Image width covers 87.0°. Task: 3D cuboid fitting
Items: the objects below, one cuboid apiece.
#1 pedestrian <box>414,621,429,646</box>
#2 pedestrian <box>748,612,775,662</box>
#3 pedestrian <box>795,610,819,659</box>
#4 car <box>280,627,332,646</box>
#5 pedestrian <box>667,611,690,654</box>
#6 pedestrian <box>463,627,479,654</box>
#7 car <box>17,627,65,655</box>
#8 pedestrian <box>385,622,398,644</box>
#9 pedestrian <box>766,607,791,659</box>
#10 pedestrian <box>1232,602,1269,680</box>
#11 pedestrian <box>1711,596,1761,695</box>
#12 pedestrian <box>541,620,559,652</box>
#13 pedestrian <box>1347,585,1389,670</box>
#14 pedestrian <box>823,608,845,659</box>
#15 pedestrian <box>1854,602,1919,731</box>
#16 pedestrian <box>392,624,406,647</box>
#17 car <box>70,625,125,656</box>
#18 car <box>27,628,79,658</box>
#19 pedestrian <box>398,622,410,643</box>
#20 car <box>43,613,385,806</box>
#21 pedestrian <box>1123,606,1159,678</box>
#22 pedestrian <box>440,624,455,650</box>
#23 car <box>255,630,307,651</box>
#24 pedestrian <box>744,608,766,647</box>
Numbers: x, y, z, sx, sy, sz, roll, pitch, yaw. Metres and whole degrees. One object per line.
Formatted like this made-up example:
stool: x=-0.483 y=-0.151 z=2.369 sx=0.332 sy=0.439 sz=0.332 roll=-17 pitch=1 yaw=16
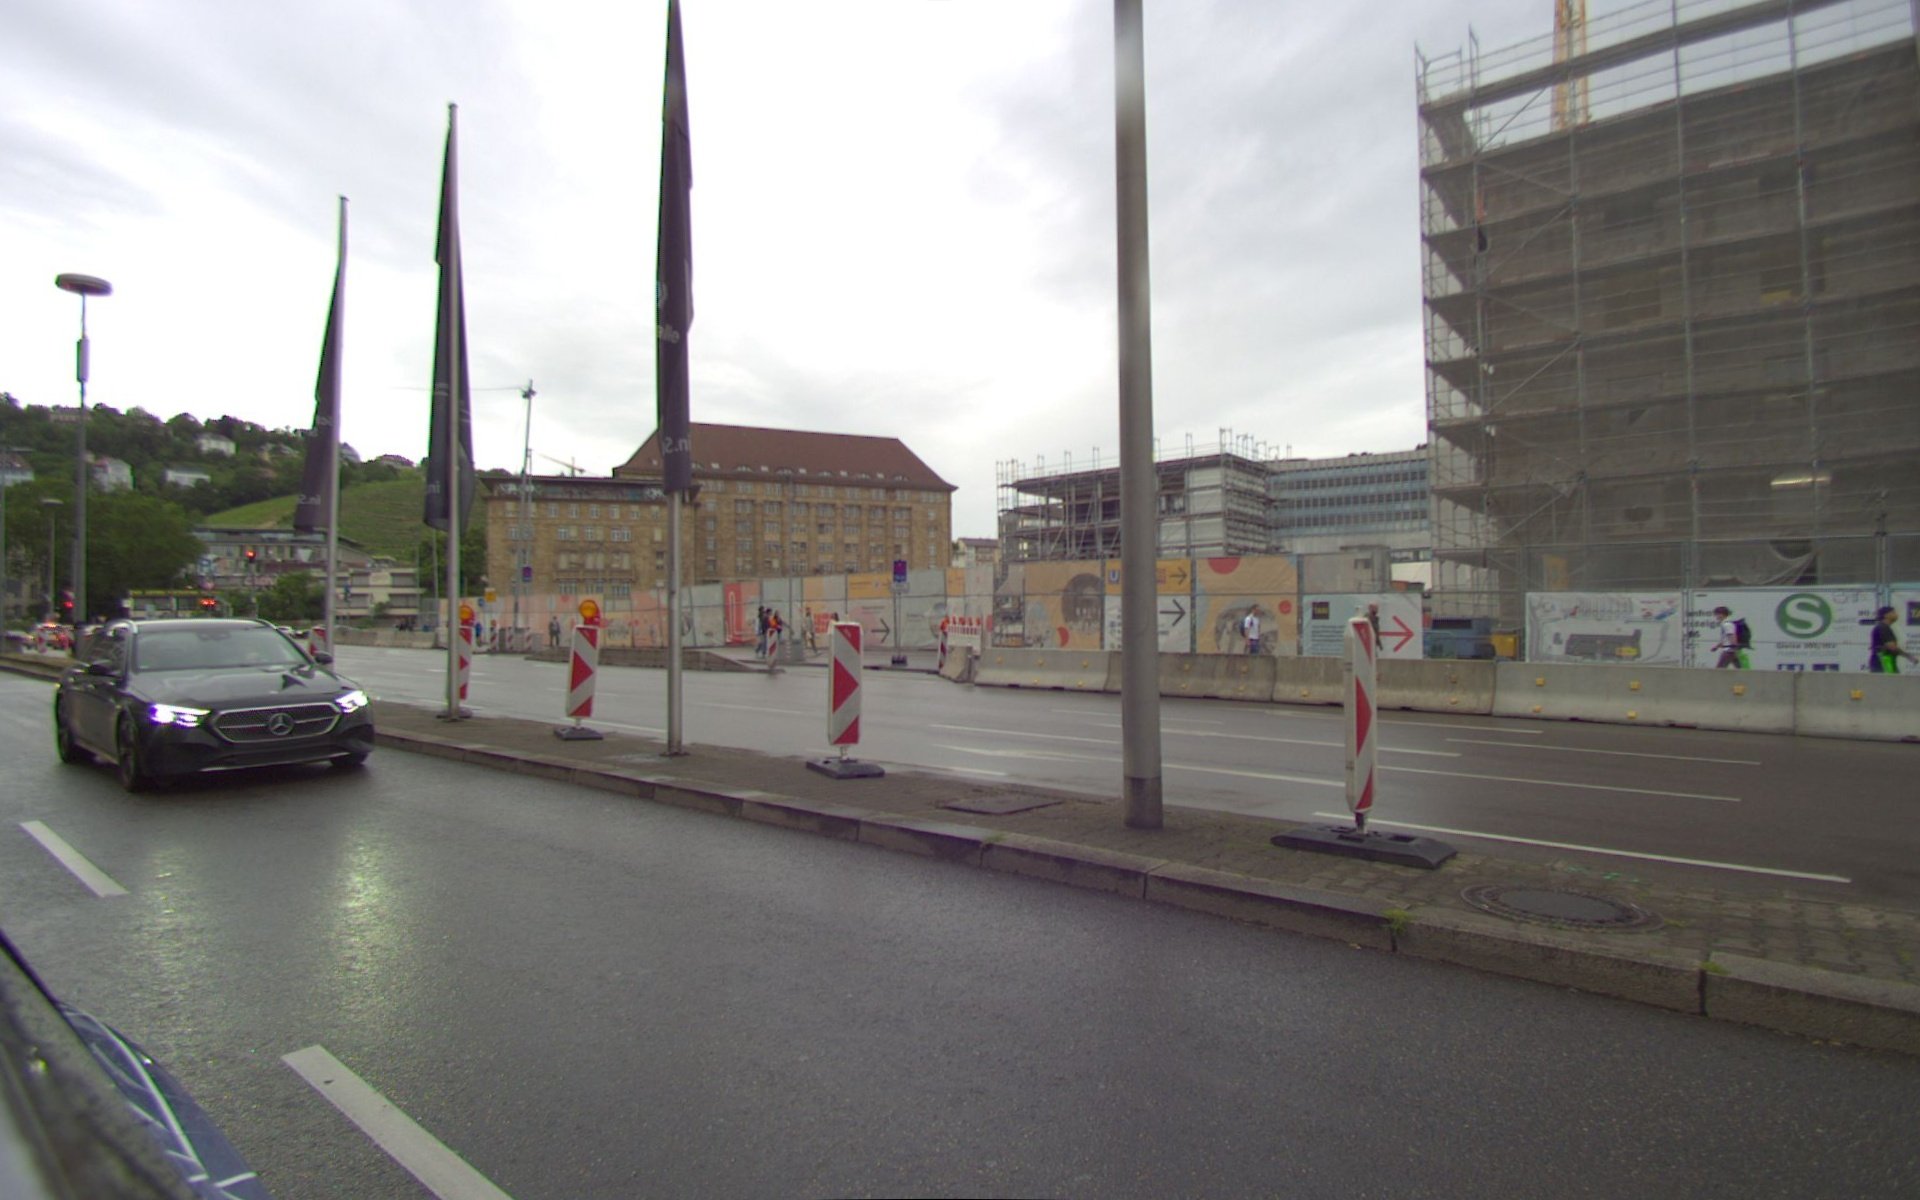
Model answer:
pedestrian: x=-34.999 y=2.180 z=65.722 sx=0.544 sy=1.628 sz=0.706 roll=-1 pitch=0 yaw=41
pedestrian: x=-7.104 y=1.300 z=36.197 sx=0.704 sy=1.746 sz=0.719 roll=-1 pitch=0 yaw=-31
pedestrian: x=-5.615 y=1.259 z=37.092 sx=0.704 sy=1.757 sz=0.565 roll=-1 pitch=0 yaw=-29
car: x=-60.385 y=3.383 z=93.466 sx=3.934 sy=1.644 sz=2.005 roll=0 pitch=-2 yaw=-36
pedestrian: x=-12.187 y=1.392 z=43.801 sx=0.720 sy=1.850 sz=0.656 roll=-1 pitch=0 yaw=41
pedestrian: x=-29.649 y=2.461 z=61.392 sx=0.544 sy=1.628 sz=0.706 roll=-1 pitch=0 yaw=41
car: x=-60.173 y=2.681 z=66.237 sx=3.913 sy=1.707 sz=1.763 roll=-1 pitch=0 yaw=40
pedestrian: x=-42.336 y=2.451 z=75.397 sx=0.544 sy=1.628 sz=0.706 roll=-1 pitch=0 yaw=41
pedestrian: x=-6.691 y=1.205 z=37.290 sx=0.704 sy=1.850 sz=0.719 roll=-1 pitch=0 yaw=-31
pedestrian: x=7.051 y=0.990 z=24.548 sx=0.717 sy=1.850 sz=0.475 roll=-1 pitch=0 yaw=41
pedestrian: x=14.811 y=0.851 z=19.320 sx=0.717 sy=1.850 sz=0.475 roll=-1 pitch=0 yaw=41
pedestrian: x=-20.860 y=1.830 z=51.498 sx=0.544 sy=1.628 sz=0.706 roll=-1 pitch=0 yaw=41
pedestrian: x=9.019 y=0.596 z=22.373 sx=0.717 sy=1.850 sz=0.475 roll=-1 pitch=0 yaw=41
pedestrian: x=-4.638 y=1.210 z=37.245 sx=0.651 sy=1.850 sz=0.557 roll=-1 pitch=0 yaw=-29
pedestrian: x=13.832 y=0.964 z=15.011 sx=0.819 sy=1.850 sz=0.572 roll=-1 pitch=0 yaw=41
pedestrian: x=-39.227 y=2.473 z=70.804 sx=0.544 sy=1.628 sz=0.706 roll=-1 pitch=0 yaw=41
car: x=-48.640 y=2.259 z=57.035 sx=3.914 sy=1.707 sz=1.762 roll=-2 pitch=-2 yaw=41
car: x=-55.118 y=2.594 z=61.472 sx=3.913 sy=1.707 sz=1.763 roll=-1 pitch=0 yaw=40
pedestrian: x=-43.843 y=2.531 z=79.781 sx=0.705 sy=1.628 sz=0.545 roll=-1 pitch=0 yaw=-39
car: x=-7.643 y=0.900 z=10.182 sx=4.585 sy=1.480 sz=1.836 roll=-1 pitch=0 yaw=41
pedestrian: x=4.773 y=1.100 z=26.717 sx=0.717 sy=1.850 sz=0.579 roll=-1 pitch=0 yaw=41
pedestrian: x=-32.860 y=2.338 z=64.871 sx=0.544 sy=1.628 sz=0.706 roll=-1 pitch=0 yaw=41
car: x=-69.189 y=4.117 z=103.110 sx=4.136 sy=1.871 sz=1.833 roll=-1 pitch=0 yaw=-44
pedestrian: x=-8.654 y=1.141 z=42.774 sx=0.544 sy=1.628 sz=0.706 roll=-1 pitch=0 yaw=41
